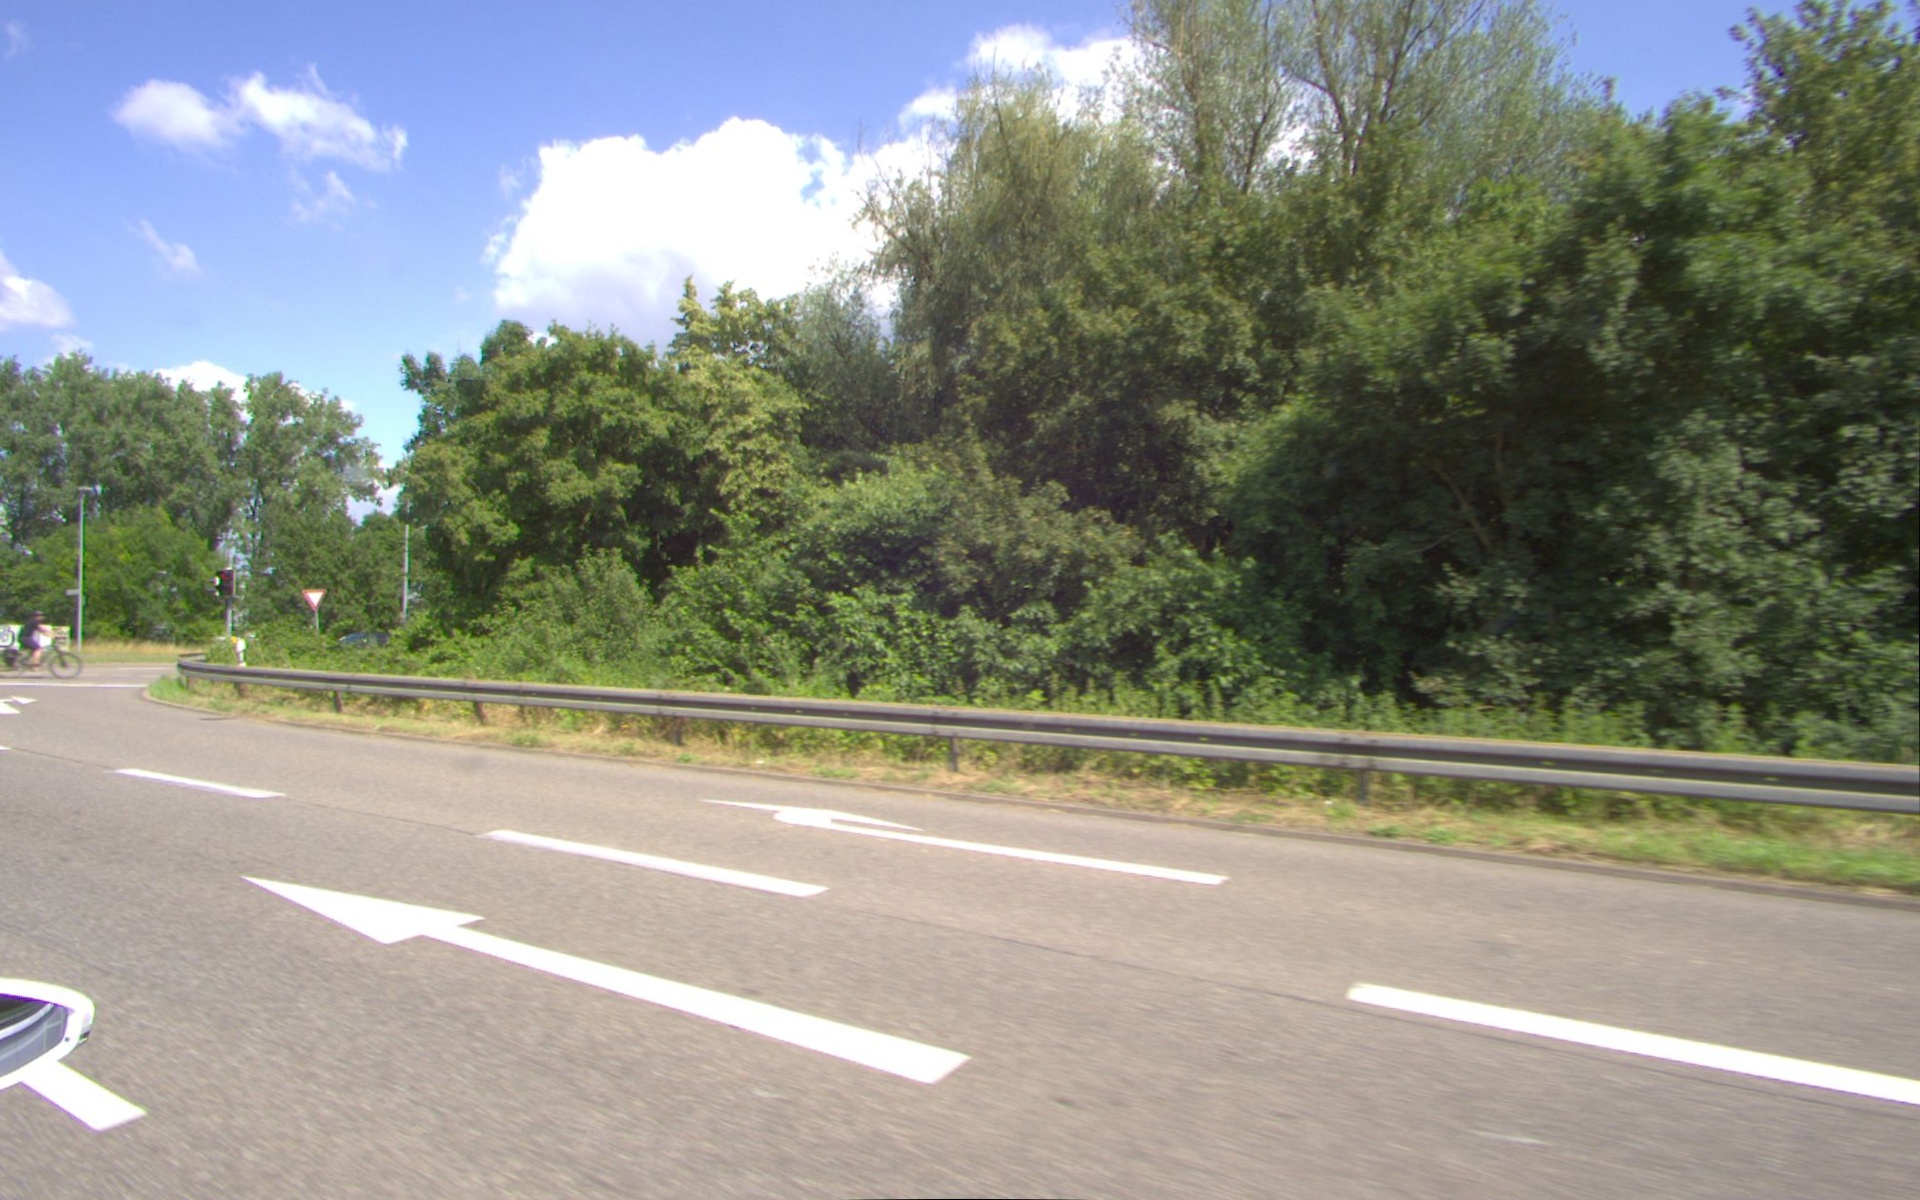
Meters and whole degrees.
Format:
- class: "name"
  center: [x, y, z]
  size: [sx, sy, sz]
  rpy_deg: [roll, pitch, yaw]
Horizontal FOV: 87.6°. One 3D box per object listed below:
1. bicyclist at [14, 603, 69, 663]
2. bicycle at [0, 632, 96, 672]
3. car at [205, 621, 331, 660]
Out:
- class: "bicyclist"
  center: [-24.605, 0.882, 26.834]
  size: [0.660, 1.580, 0.835]
  rpy_deg: [0, -1, 19]
- class: "bicycle"
  center: [-24.589, 1.373, 26.876]
  size: [0.660, 1.036, 2.056]
  rpy_deg: [0, -2, 19]
- class: "car"
  center: [-29.190, 1.727, 42.379]
  size: [1.708, 1.494, 4.040]
  rpy_deg: [0, -4, 23]
